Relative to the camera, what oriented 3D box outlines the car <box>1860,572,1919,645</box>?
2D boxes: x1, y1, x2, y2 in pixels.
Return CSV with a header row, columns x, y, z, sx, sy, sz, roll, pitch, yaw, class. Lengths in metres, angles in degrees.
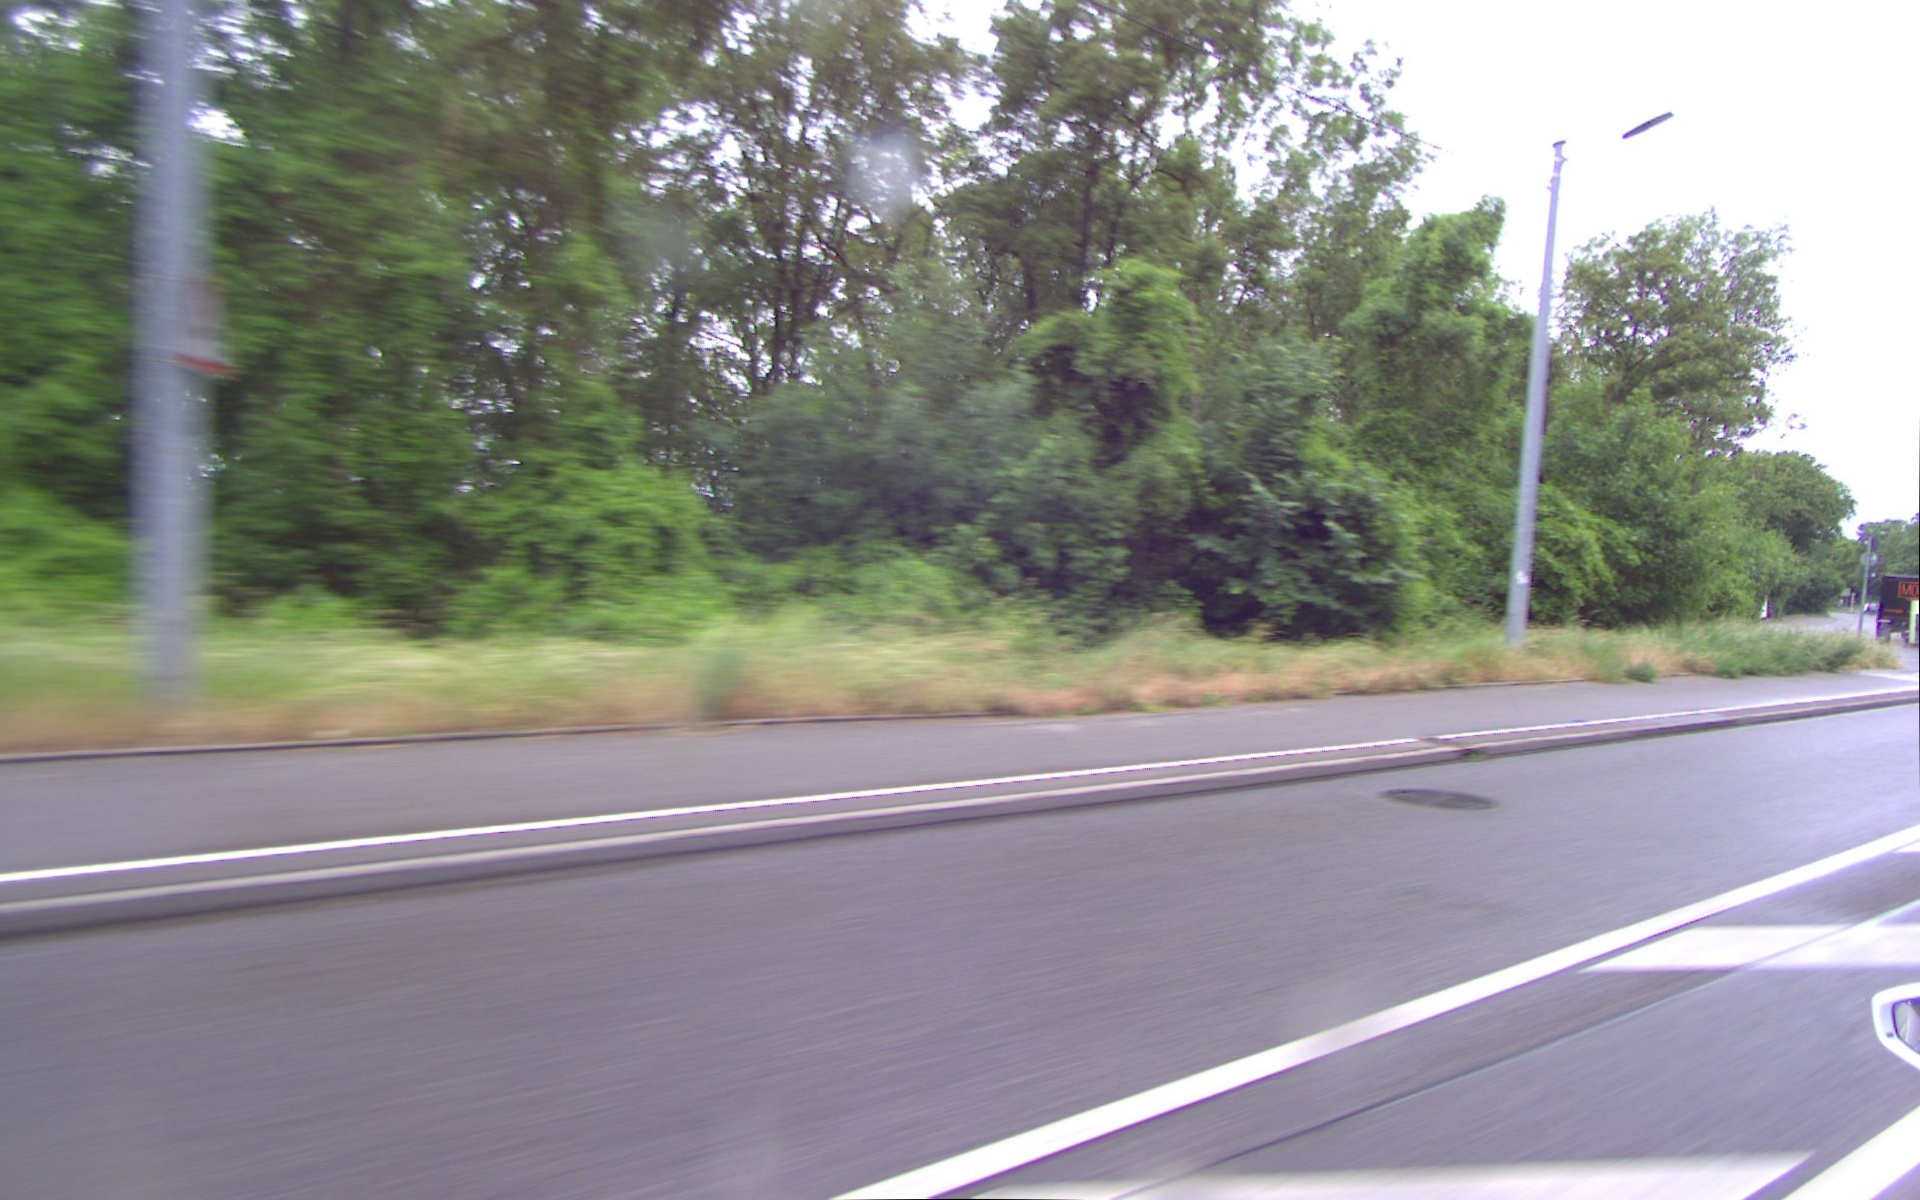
x,y,z,sx,sy,sz,roll,pitch,yaw,class
48.289,0.462,49.329,1.987,3.549,5.888,1,1,-44,car
